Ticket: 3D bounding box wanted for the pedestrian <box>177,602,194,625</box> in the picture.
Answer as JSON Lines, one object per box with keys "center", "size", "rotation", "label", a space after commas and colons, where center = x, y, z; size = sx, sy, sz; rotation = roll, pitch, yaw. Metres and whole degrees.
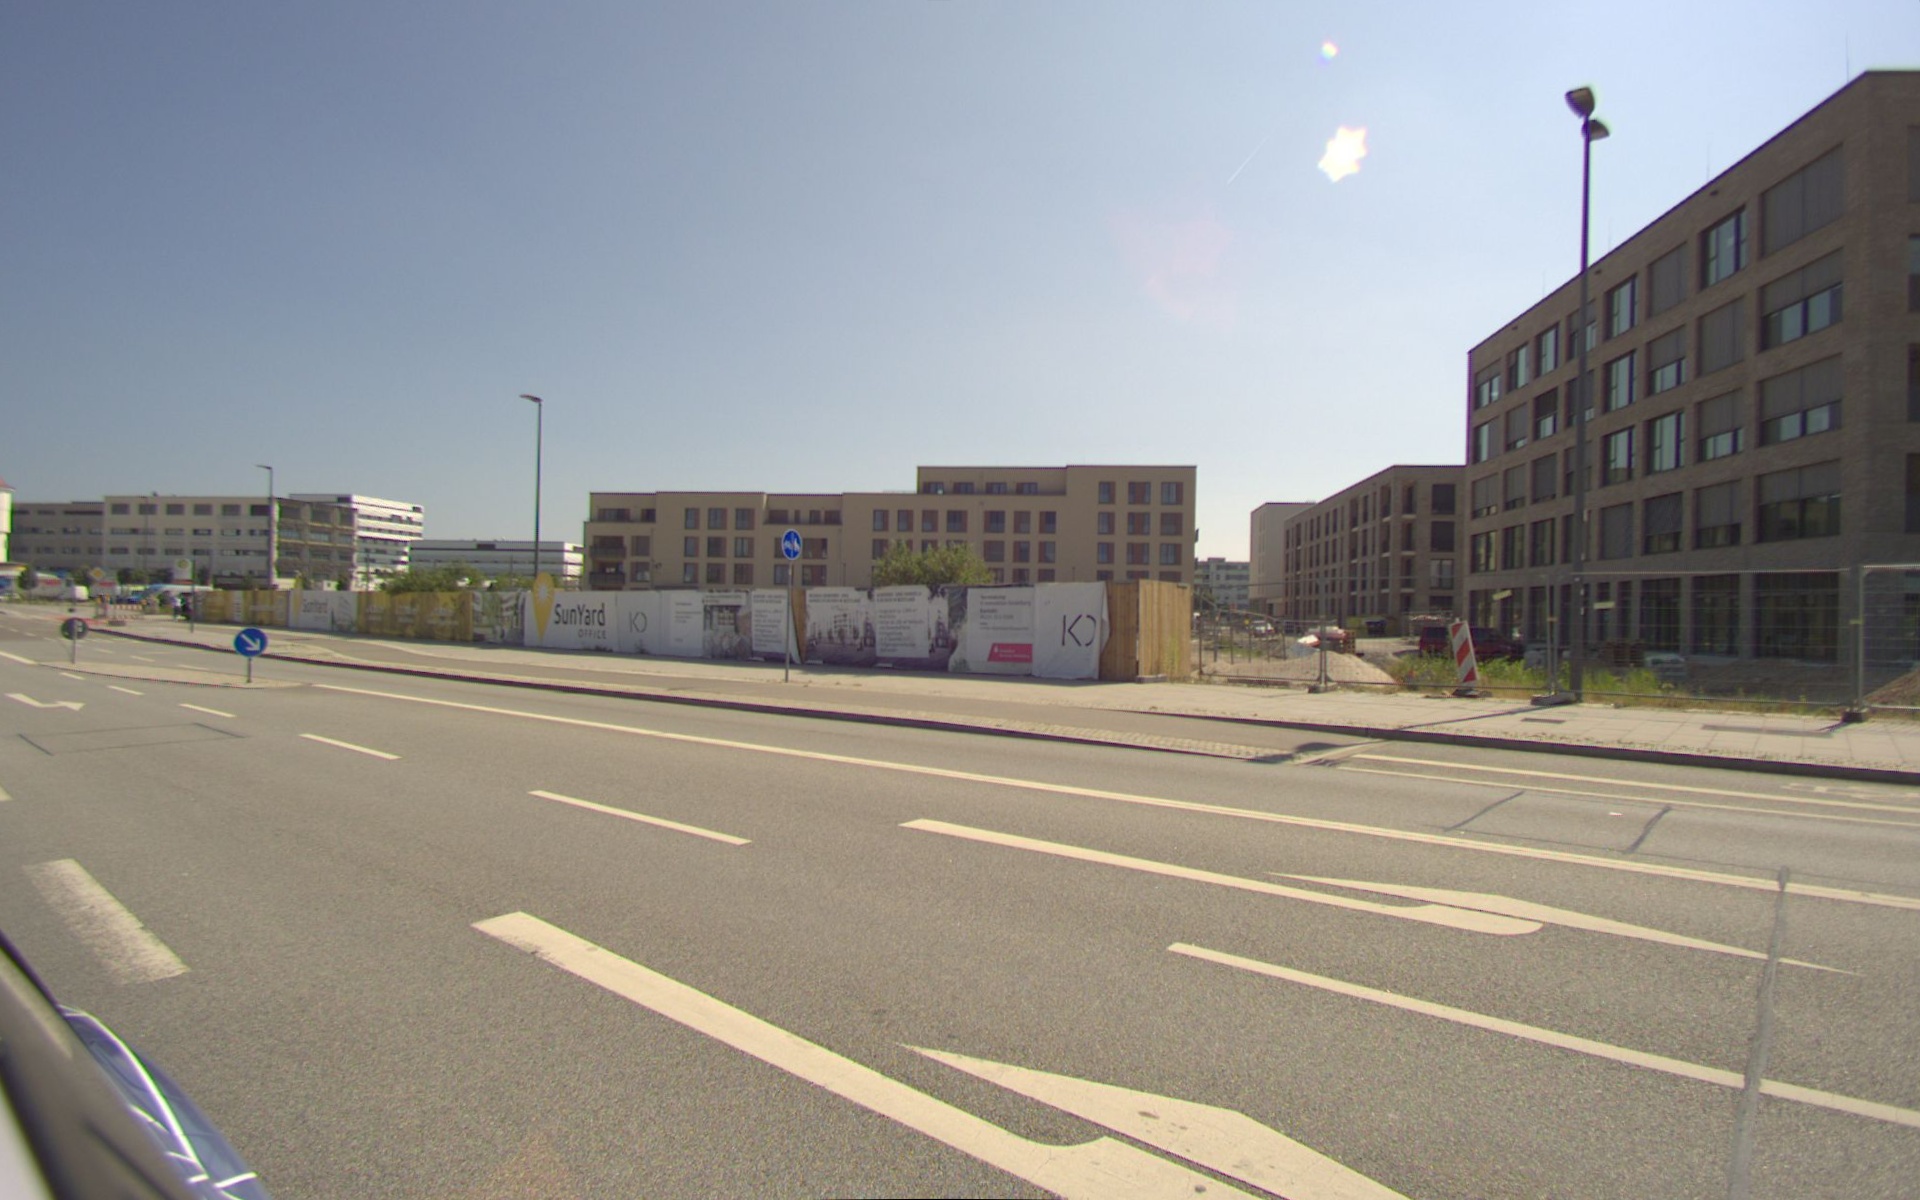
{"center": [-54.337, 0.952, 71.031], "size": [0.610, 1.598, 0.703], "rotation": [-1, 0, 5], "label": "pedestrian"}
